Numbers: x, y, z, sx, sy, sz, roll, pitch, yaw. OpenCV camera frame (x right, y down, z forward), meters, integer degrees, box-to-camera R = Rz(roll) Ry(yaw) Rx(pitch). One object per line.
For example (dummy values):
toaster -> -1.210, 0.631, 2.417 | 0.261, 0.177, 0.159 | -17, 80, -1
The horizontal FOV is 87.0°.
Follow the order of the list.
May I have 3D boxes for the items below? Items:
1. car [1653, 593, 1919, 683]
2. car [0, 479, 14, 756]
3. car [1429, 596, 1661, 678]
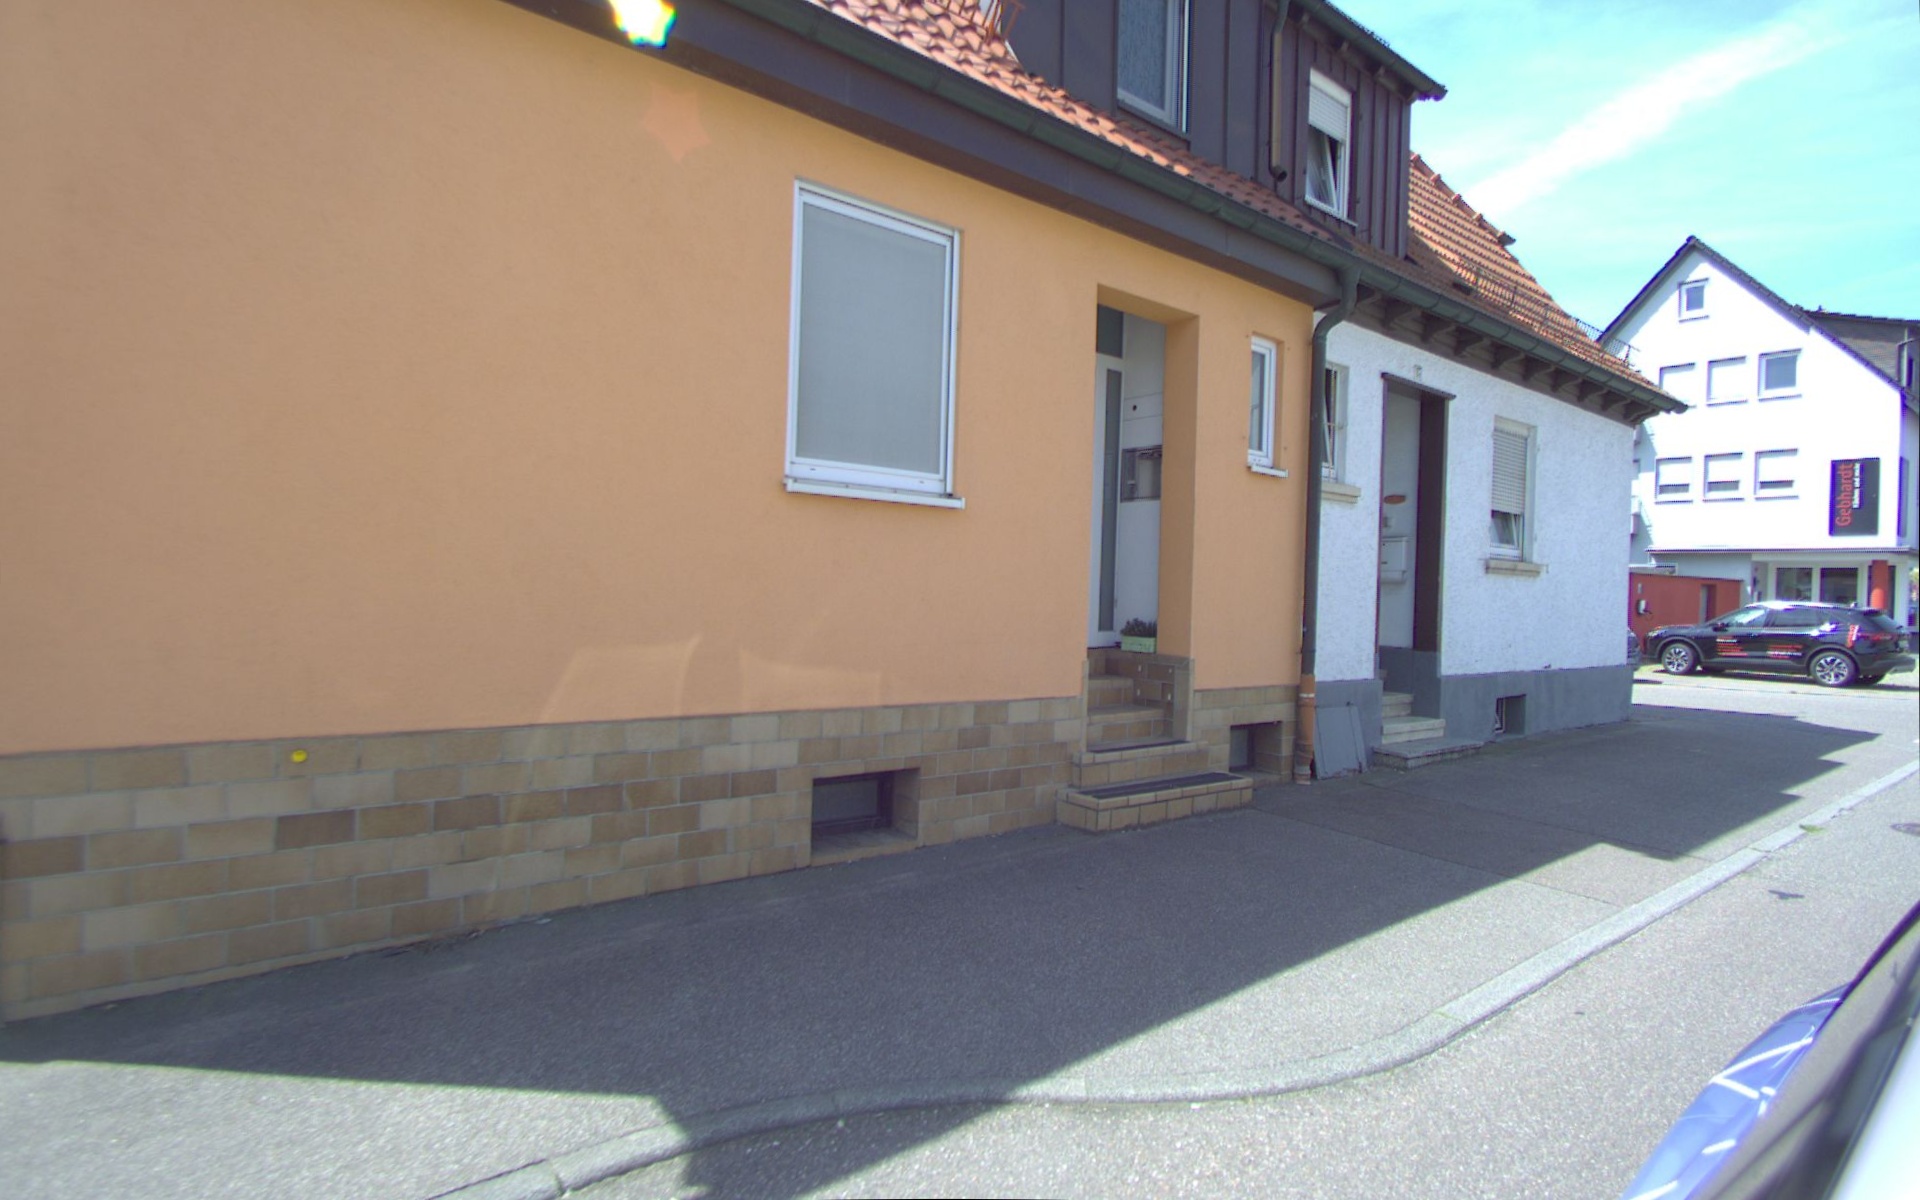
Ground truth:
car -> 17.389, 0.704, 21.270 | 1.811, 1.674, 4.312 | 1, 0, -30
car -> -7.154, 0.159, 6.069 | 1.802, 2.097, 4.221 | 0, 1, -38
car -> 12.444, 0.736, 21.782 | 1.660, 1.523, 4.004 | 2, 0, -30
